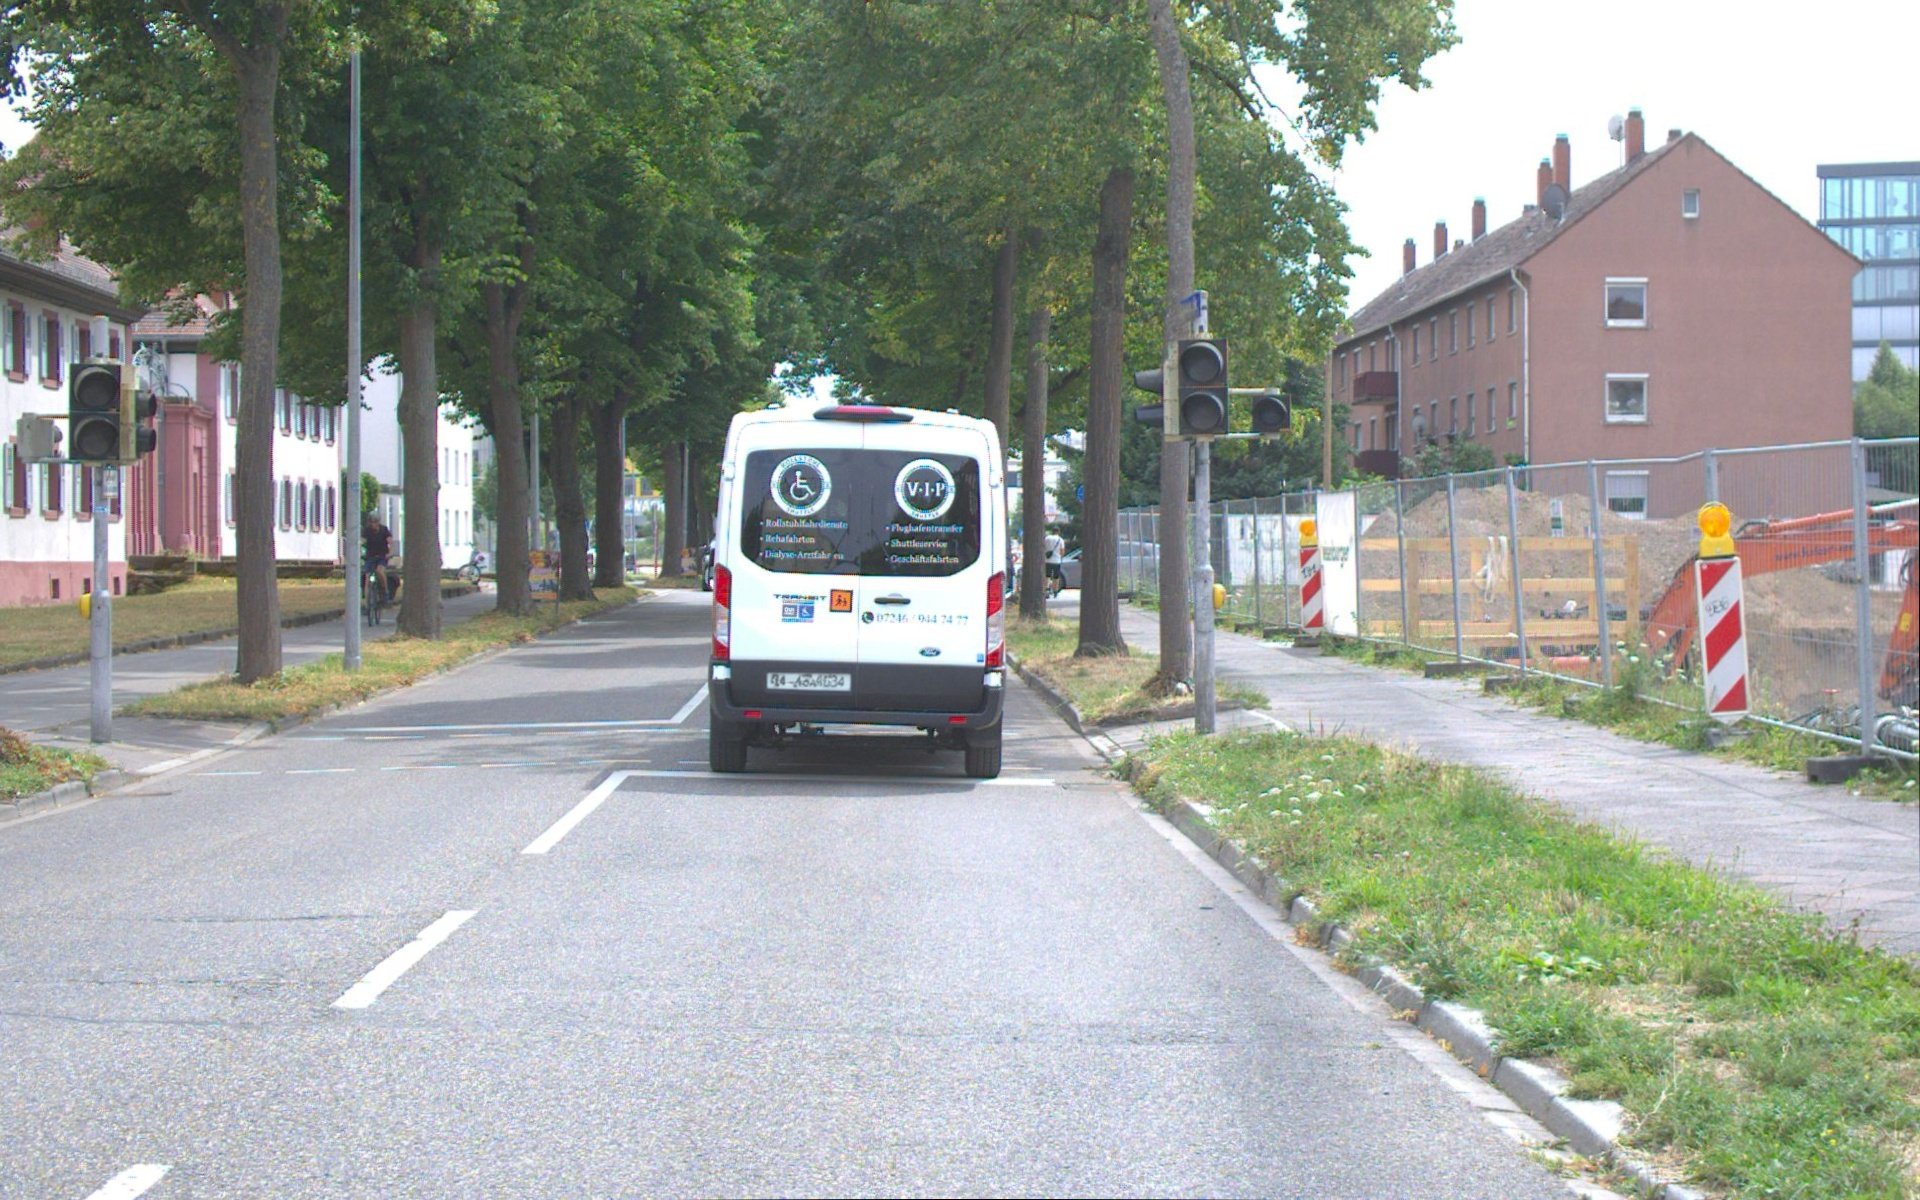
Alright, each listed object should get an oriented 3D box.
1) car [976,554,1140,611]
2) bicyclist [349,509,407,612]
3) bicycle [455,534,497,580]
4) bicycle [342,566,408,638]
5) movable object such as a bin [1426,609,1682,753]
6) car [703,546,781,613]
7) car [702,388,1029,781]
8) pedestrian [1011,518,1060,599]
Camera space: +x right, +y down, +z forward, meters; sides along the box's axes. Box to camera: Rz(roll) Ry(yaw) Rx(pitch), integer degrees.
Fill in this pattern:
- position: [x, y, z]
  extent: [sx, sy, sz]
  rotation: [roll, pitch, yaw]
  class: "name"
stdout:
- position: [2.626, -0.470, 93.165]
  extent: [4.371, 1.438, 2.011]
  rotation: [-1, -1, 0]
  class: "car"
- position: [-9.611, -0.659, 56.827]
  extent: [0.722, 1.650, 0.958]
  rotation: [4, 1, -2]
  class: "bicyclist"
- position: [-12.018, -1.076, 85.345]
  extent: [0.722, 1.091, 2.225]
  rotation: [4, 1, -2]
  class: "bicycle"
- position: [-9.651, 0.021, 56.804]
  extent: [0.722, 1.091, 2.151]
  rotation: [4, 1, -2]
  class: "bicycle"
- position: [11.619, 1.564, 67.008]
  extent: [4.685, 2.581, 3.131]
  rotation: [-2, 0, 13]
  class: "movable object such as a bin"
- position: [-5.771, -0.566, 91.403]
  extent: [1.771, 1.653, 4.257]
  rotation: [-2, 1, 0]
  class: "car"
- position: [-0.765, -0.109, 24.466]
  extent: [2.062, 2.531, 4.001]
  rotation: [1, 0, -5]
  class: "car"
- position: [1.742, -0.956, 79.137]
  extent: [0.883, 1.808, 0.888]
  rotation: [-2, 0, 18]
  class: "pedestrian"
